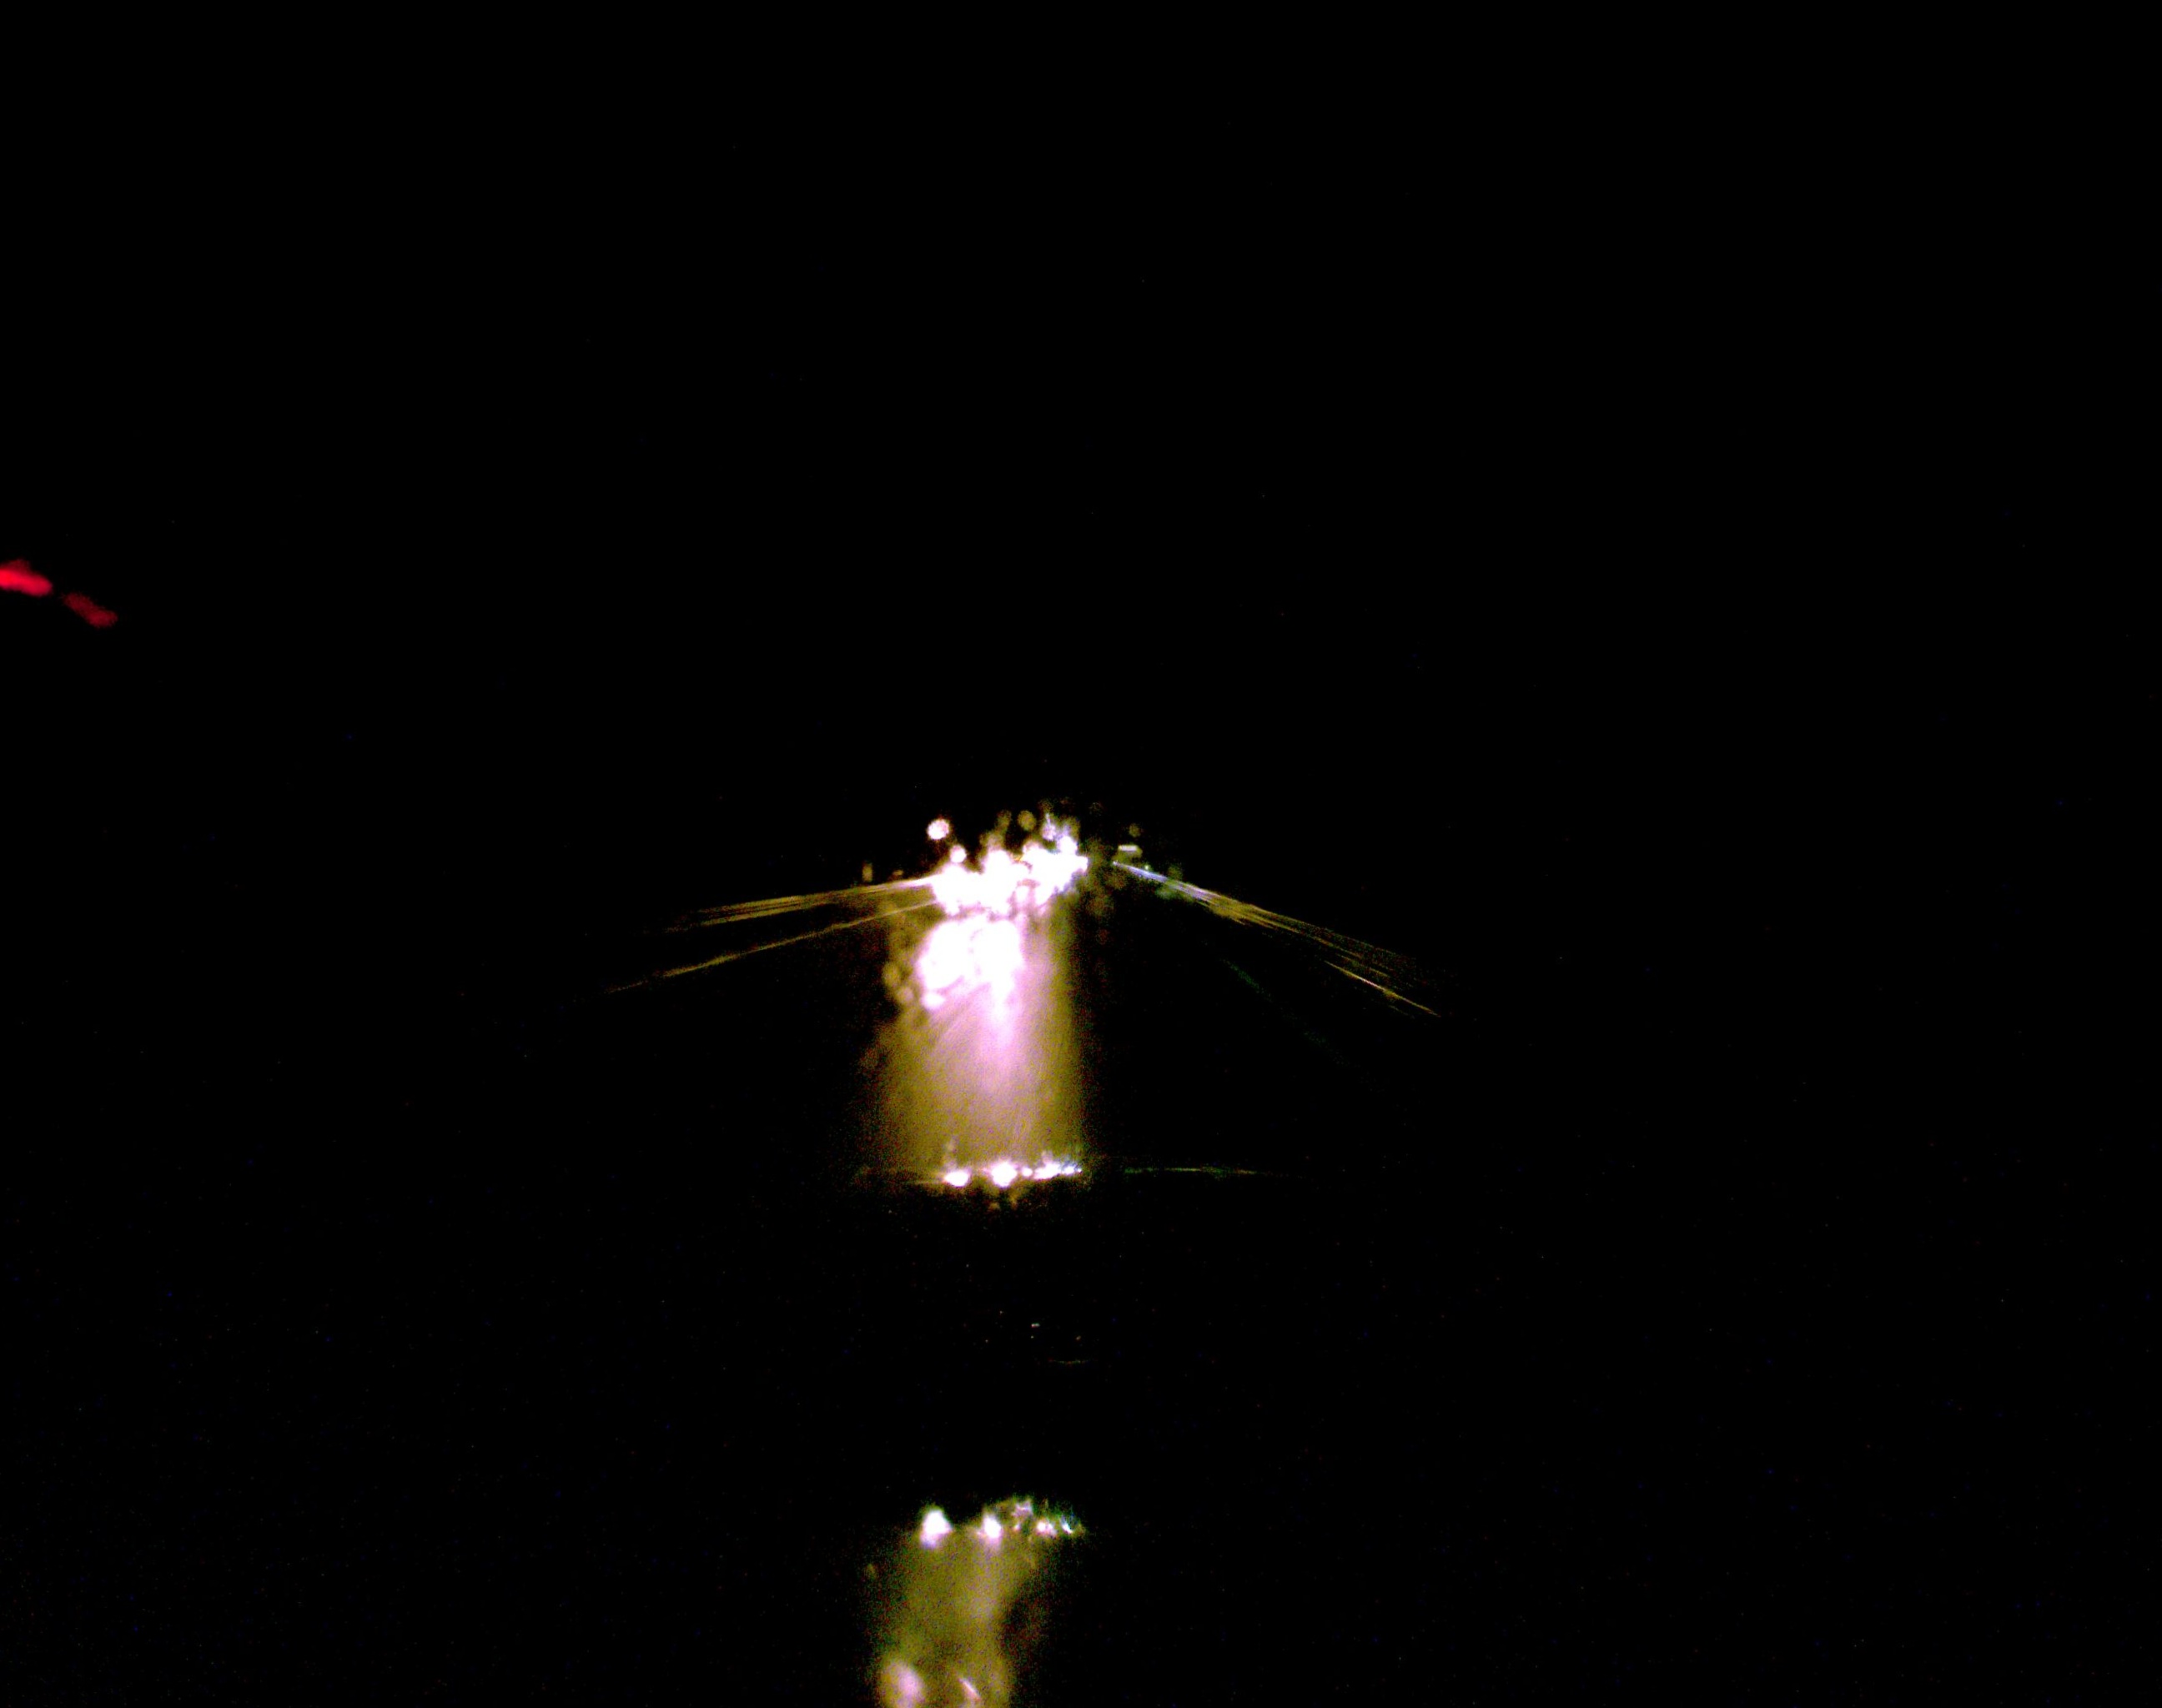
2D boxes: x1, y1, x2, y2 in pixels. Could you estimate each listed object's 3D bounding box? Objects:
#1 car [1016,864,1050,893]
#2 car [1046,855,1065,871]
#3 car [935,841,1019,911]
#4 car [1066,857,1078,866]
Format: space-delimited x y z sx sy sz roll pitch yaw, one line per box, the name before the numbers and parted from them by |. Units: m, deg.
car | -2.662 1.348 45.625 1.660 1.456 3.426 -1 0 0
car | -2.312 0.808 74.173 1.635 1.359 3.680 -1 0 0
car | -2.947 0.589 23.990 1.826 1.871 4.429 -1 0 1
car | -1.507 1.269 138.073 1.862 1.612 3.846 -1 0 0
